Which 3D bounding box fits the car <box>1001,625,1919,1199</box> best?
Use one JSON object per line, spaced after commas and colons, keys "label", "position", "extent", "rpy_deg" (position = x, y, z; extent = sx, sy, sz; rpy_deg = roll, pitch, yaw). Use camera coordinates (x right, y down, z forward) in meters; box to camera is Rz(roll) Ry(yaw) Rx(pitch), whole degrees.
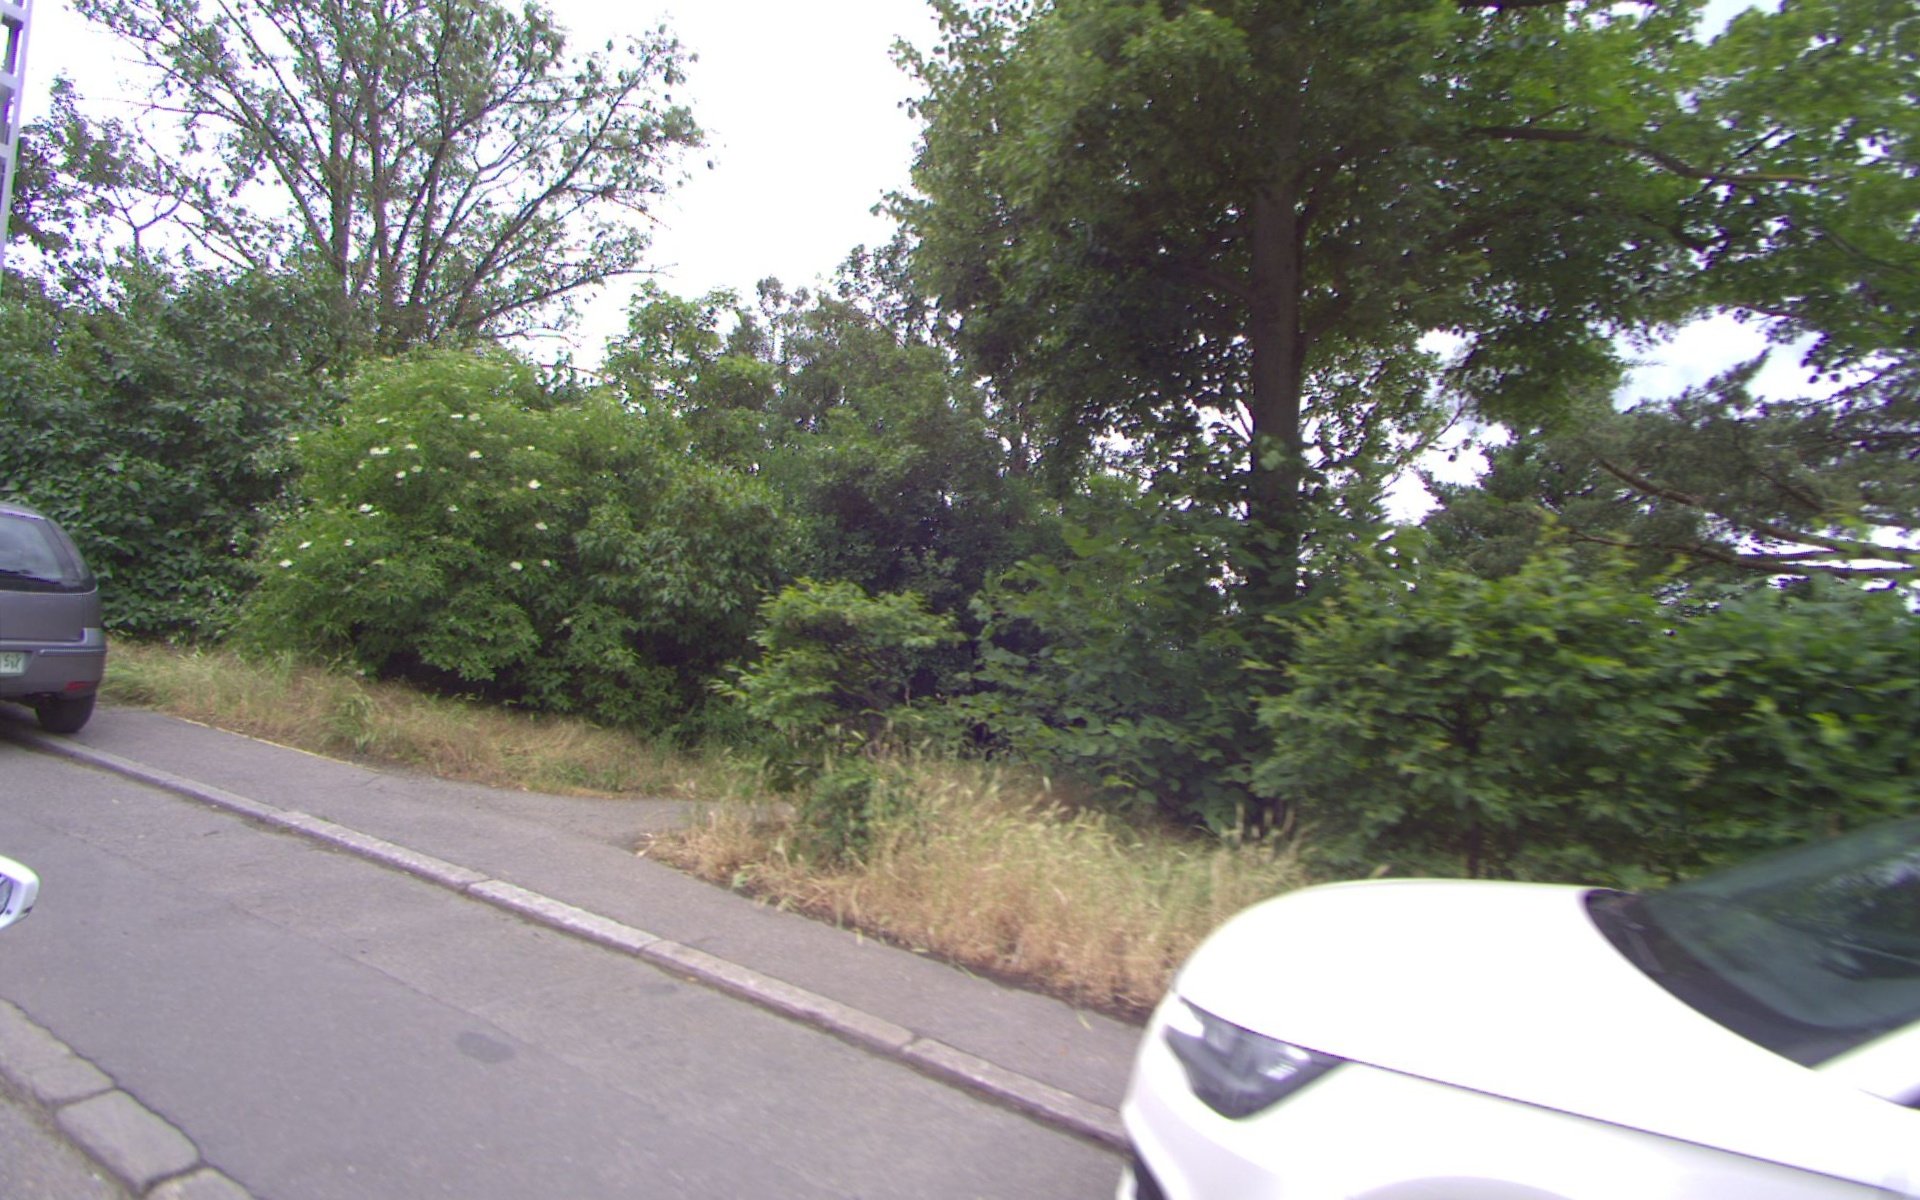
{"label": "car", "position": [2.253, 1.014, 1.838], "extent": [3.929, 1.436, 1.781], "rpy_deg": [7, 0, 27]}

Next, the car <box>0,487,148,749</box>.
{"label": "car", "position": [-7.241, -0.099, 6.499], "extent": [3.932, 1.480, 1.645], "rpy_deg": [6, -2, 29]}
